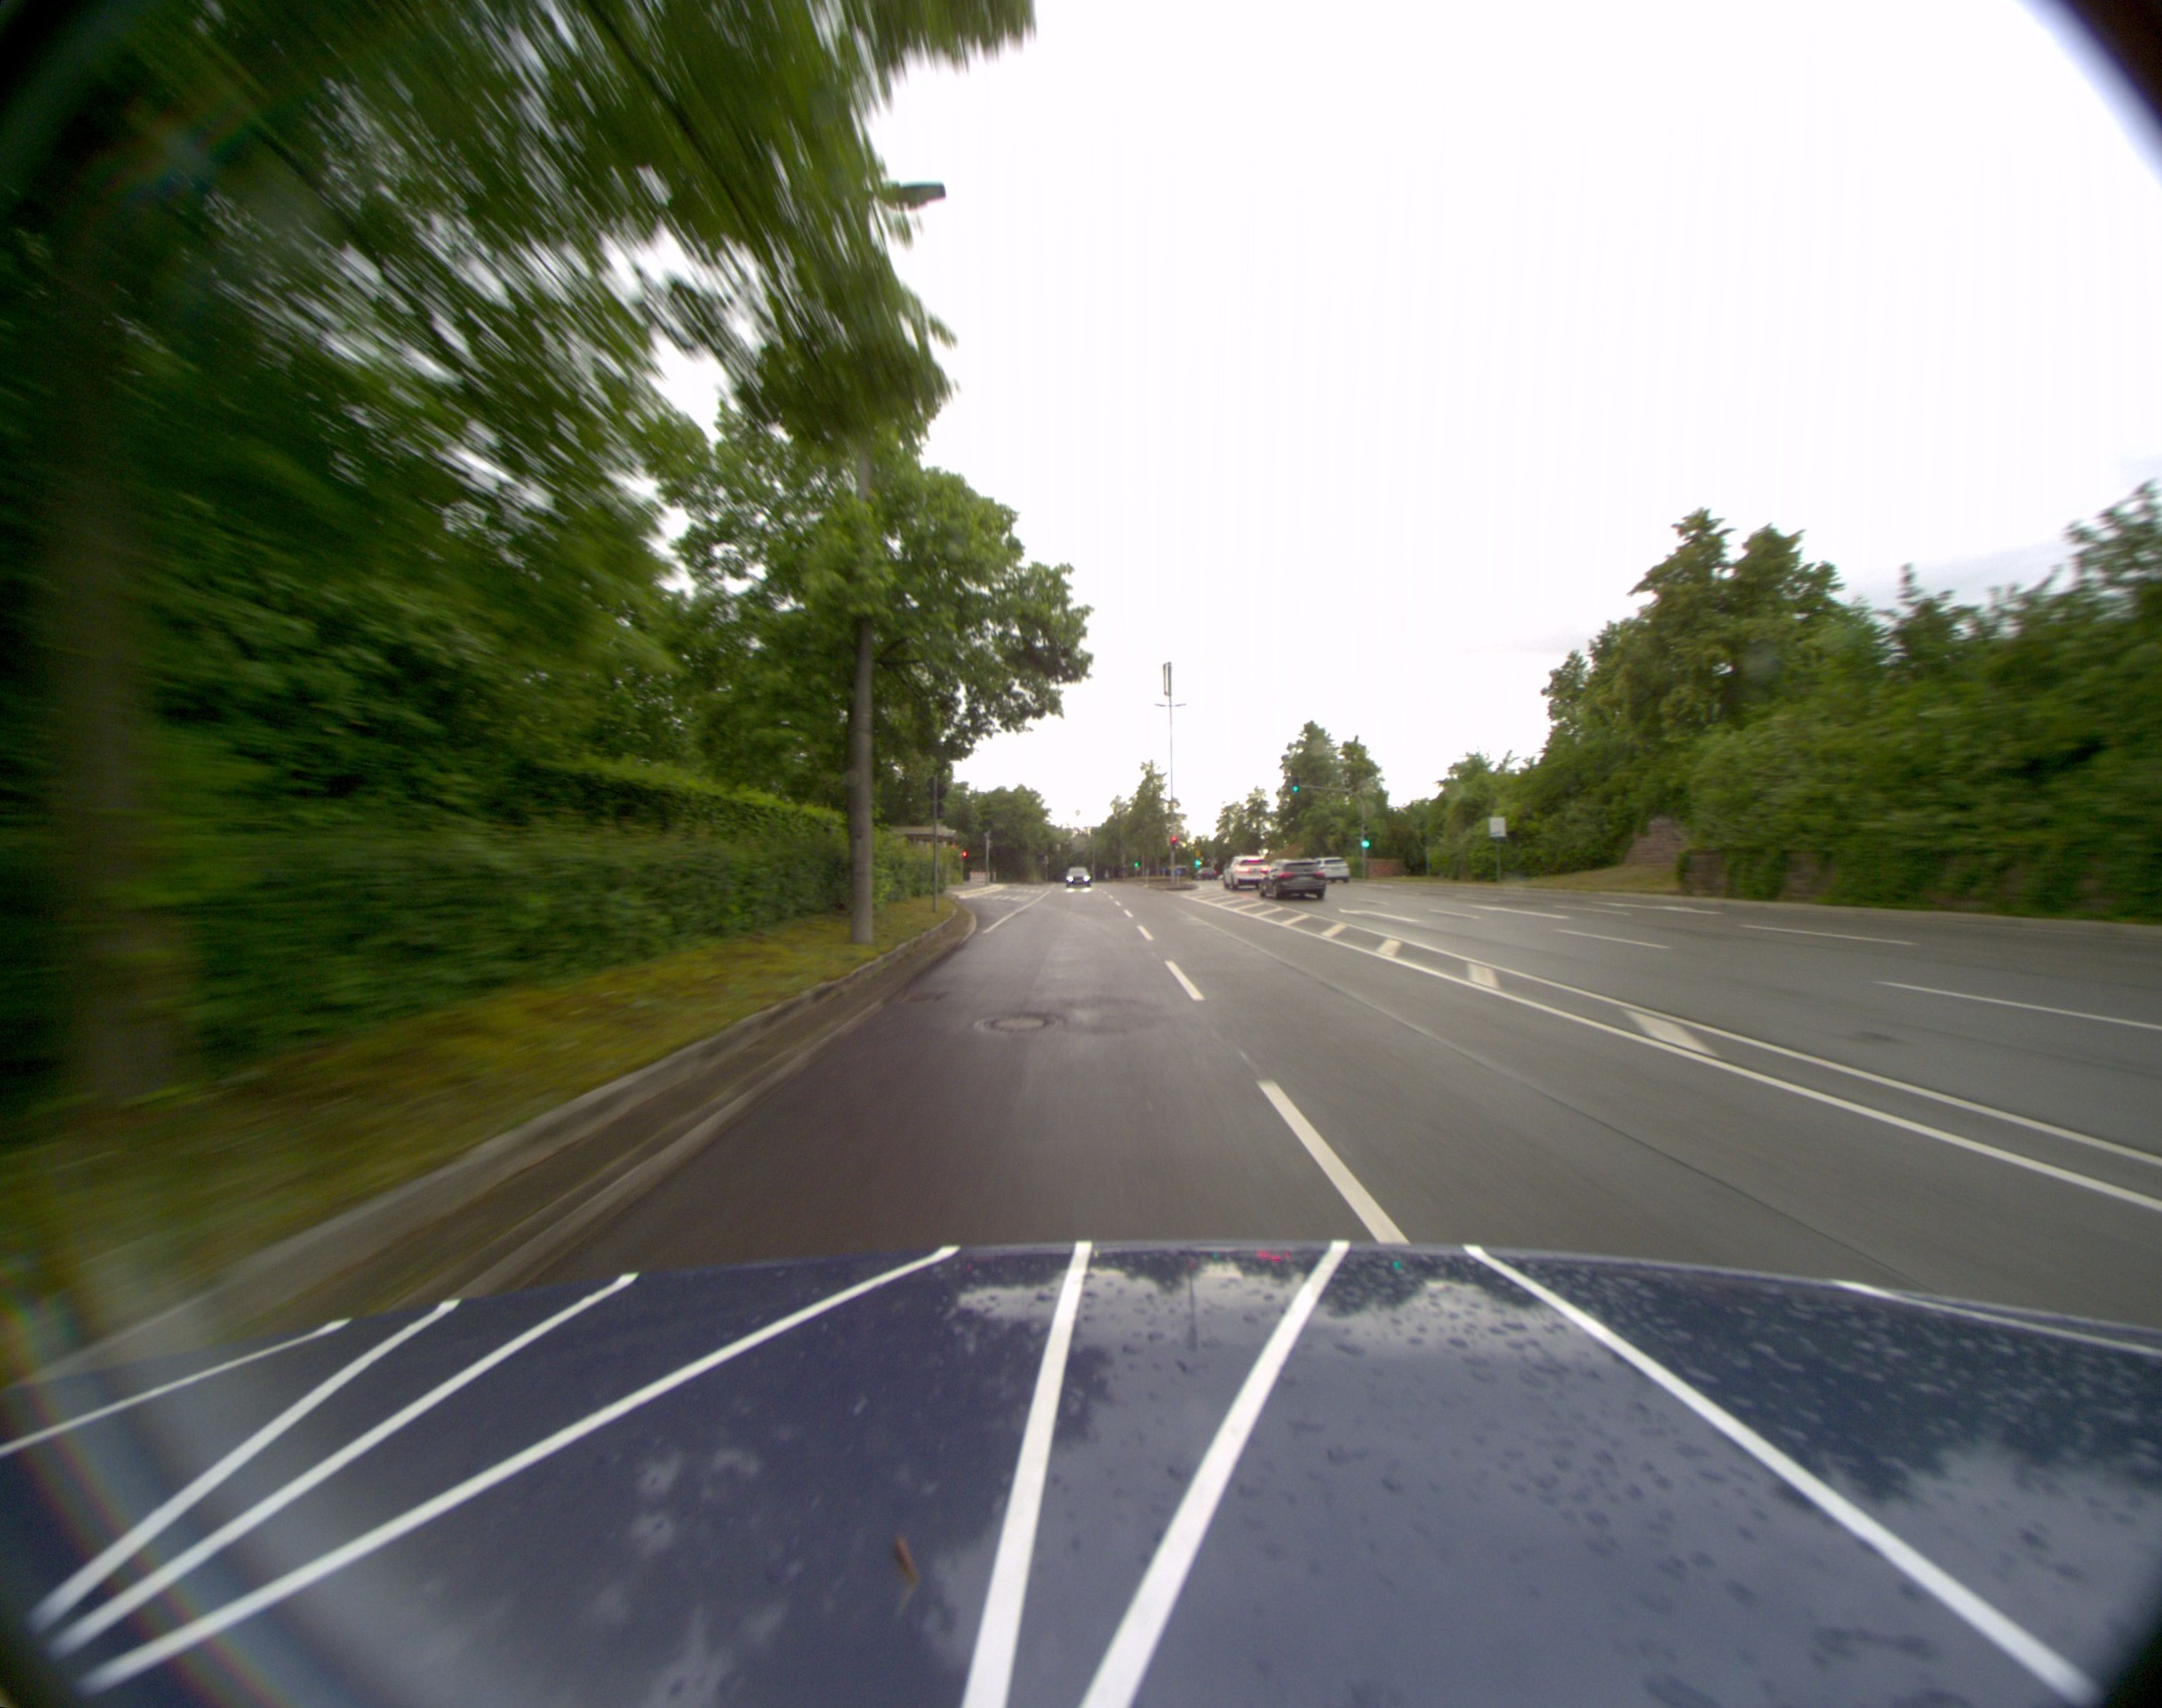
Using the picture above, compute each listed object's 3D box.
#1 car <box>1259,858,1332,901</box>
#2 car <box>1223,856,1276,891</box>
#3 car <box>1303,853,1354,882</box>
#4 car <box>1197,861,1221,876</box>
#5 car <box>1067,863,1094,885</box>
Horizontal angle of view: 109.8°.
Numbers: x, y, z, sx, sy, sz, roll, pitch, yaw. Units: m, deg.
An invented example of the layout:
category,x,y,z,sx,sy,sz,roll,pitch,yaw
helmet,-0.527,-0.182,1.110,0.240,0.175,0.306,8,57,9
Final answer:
category,x,y,z,sx,sy,sz,roll,pitch,yaw
car,8.018,0.914,28.740,1.781,1.459,3.998,-1,0,3
car,8.557,0.951,39.011,1.890,1.646,4.451,-1,0,3
car,15.328,0.813,47.288,1.890,1.646,4.451,-1,0,2
car,14.795,1.627,88.014,1.891,1.646,4.340,-1,0,-1
car,0.012,1.455,56.614,1.737,1.577,4.287,-1,0,3
